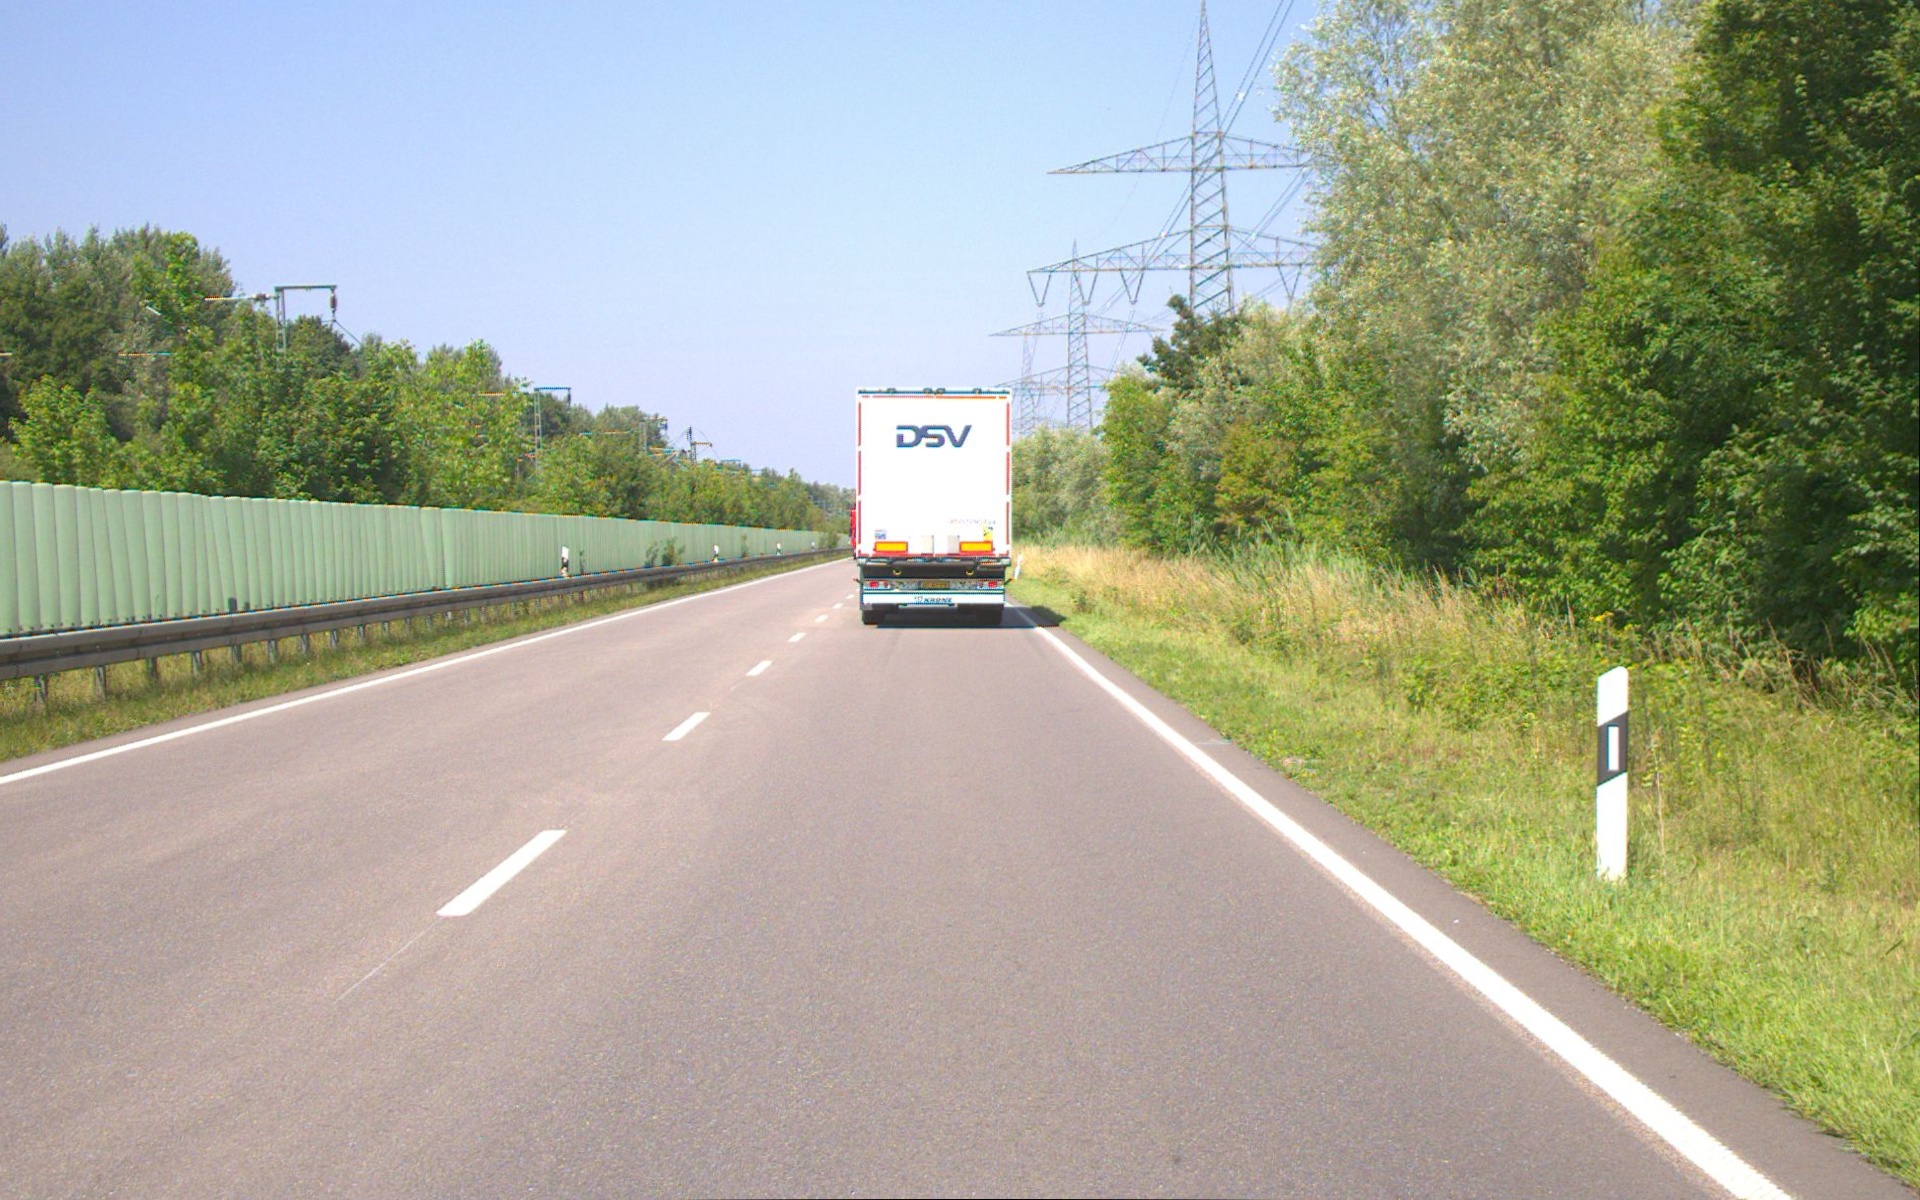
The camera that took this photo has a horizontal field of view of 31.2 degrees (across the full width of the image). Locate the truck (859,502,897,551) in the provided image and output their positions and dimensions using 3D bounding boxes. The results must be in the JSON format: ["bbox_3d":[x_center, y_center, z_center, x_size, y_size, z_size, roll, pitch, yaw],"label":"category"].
[{"bbox_3d":[-6.095,-5.506,256.344,2.734,3.586,9.528,0,1,-1],"label":"truck"}]

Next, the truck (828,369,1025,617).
[{"bbox_3d":[-0.663,-1.877,62.099,3.192,4.029,12.008,0,1,-1],"label":"truck"}]
